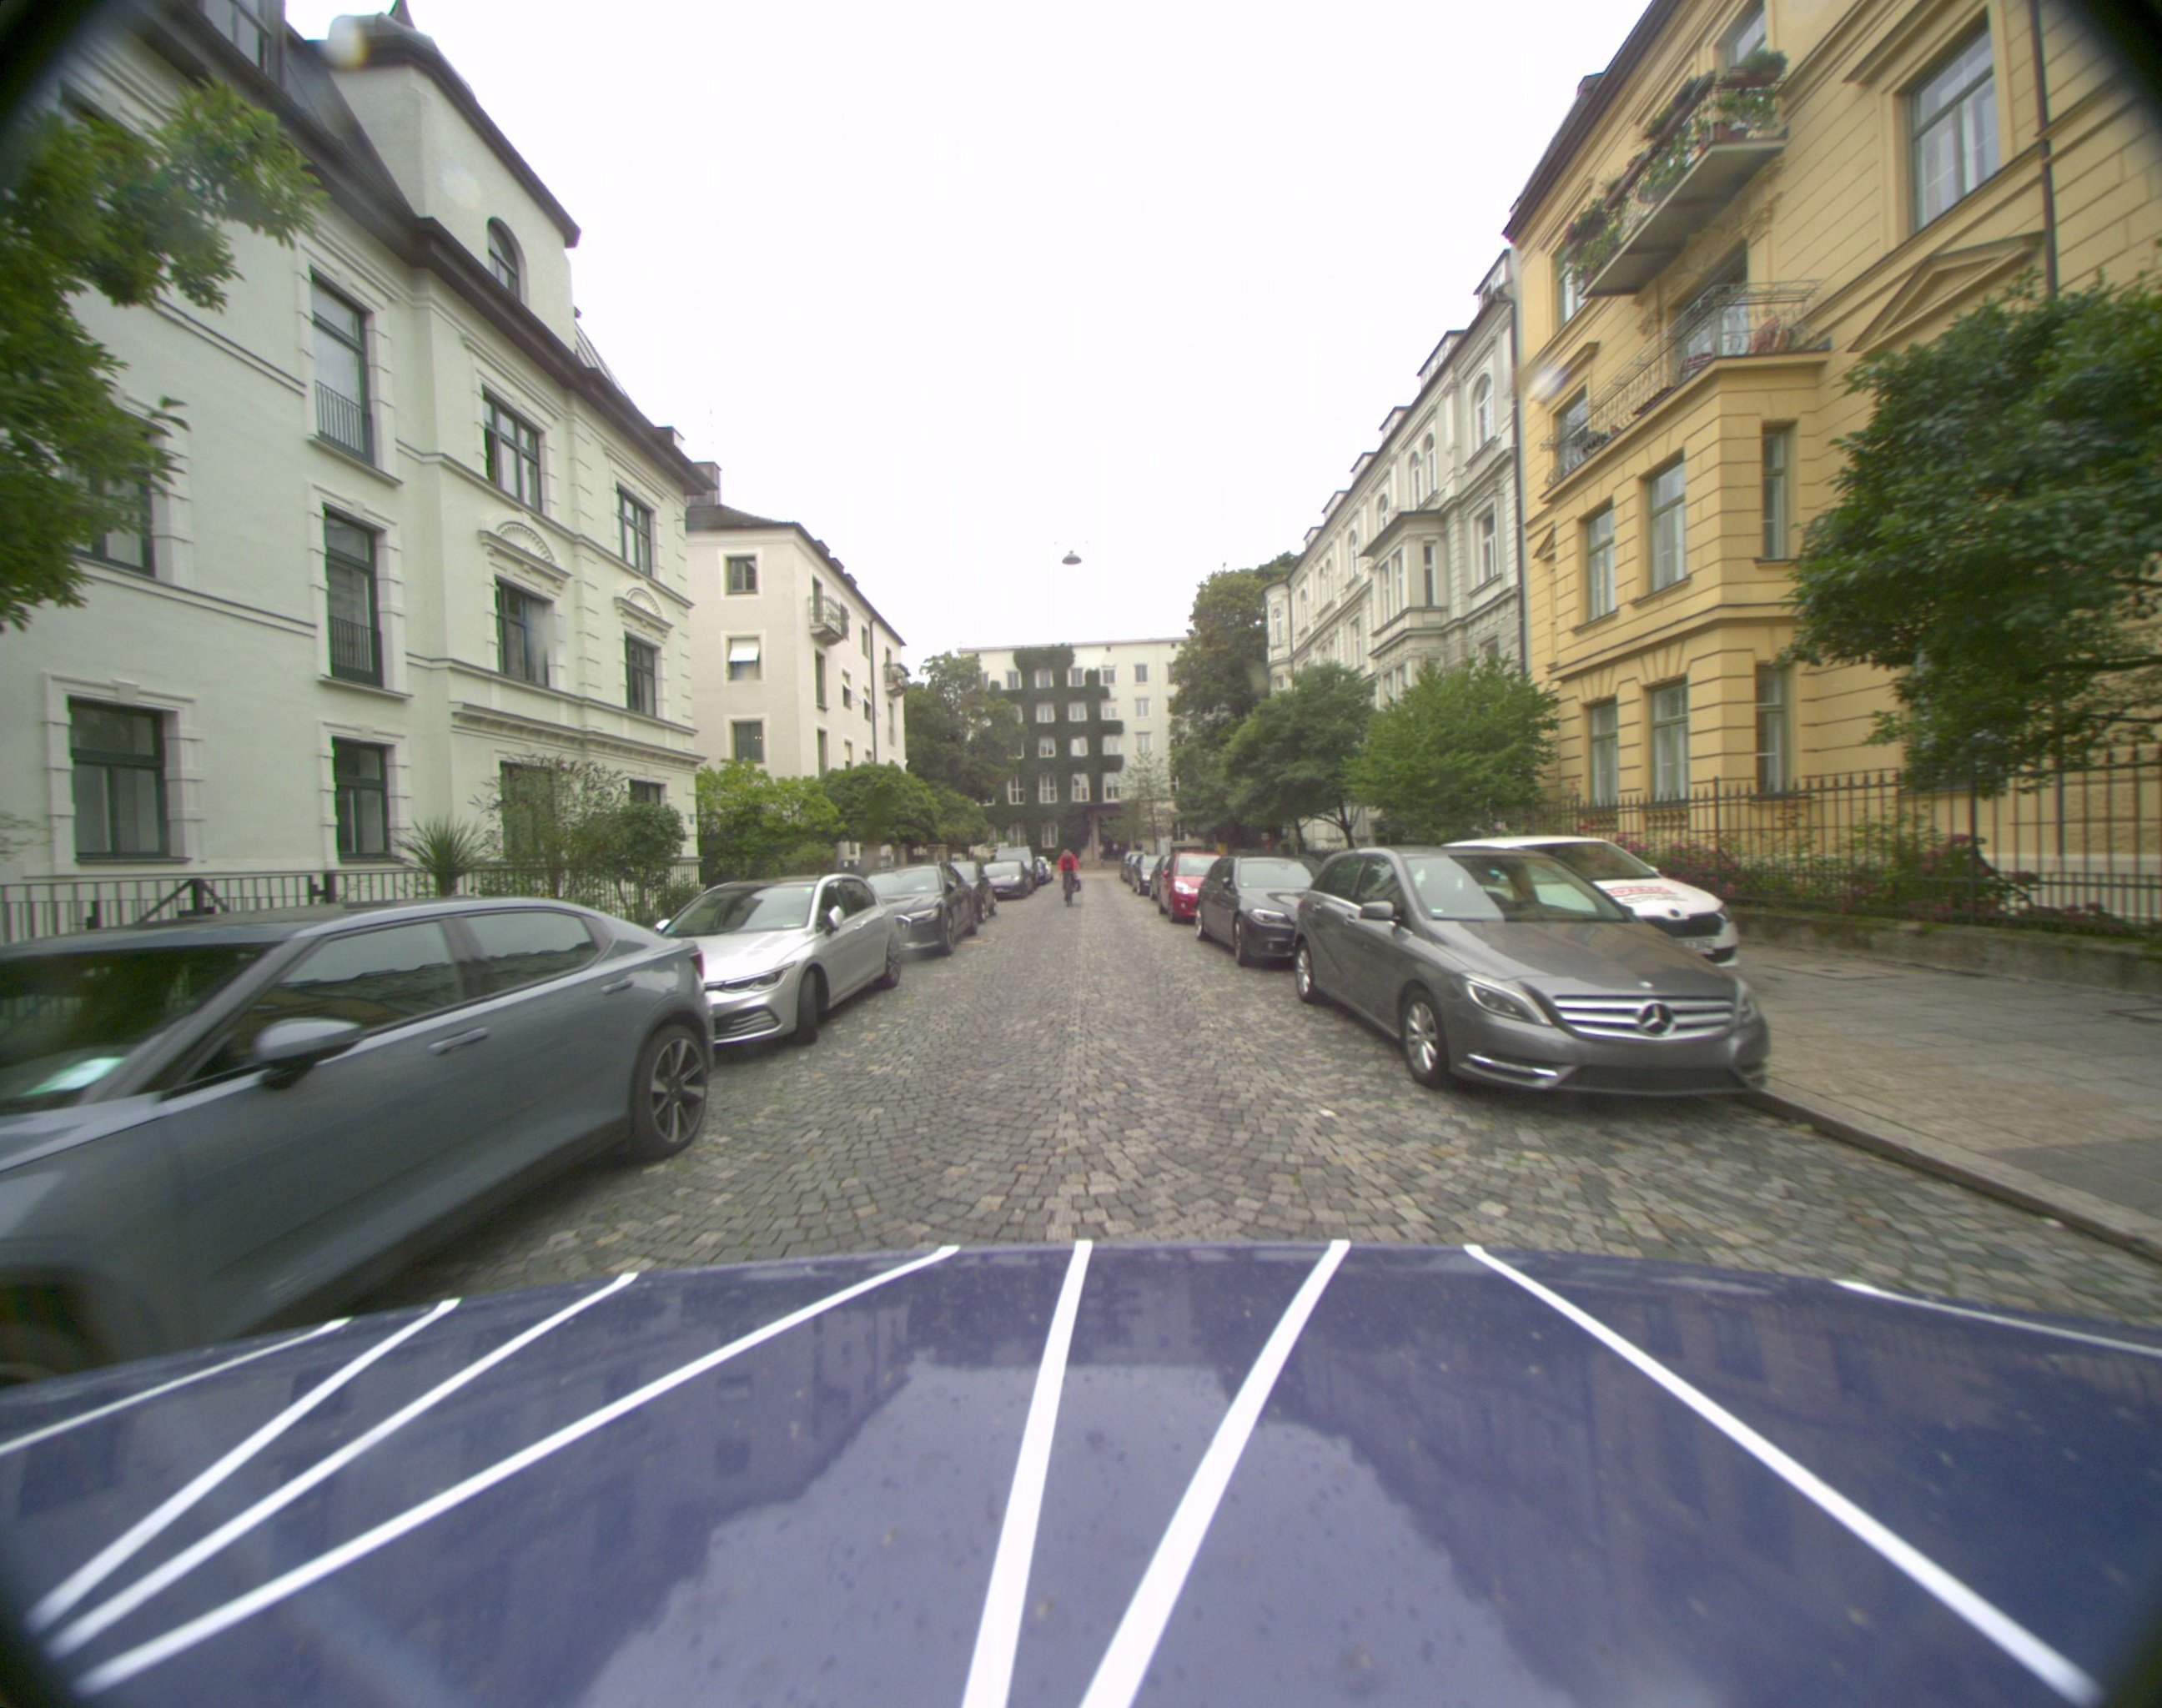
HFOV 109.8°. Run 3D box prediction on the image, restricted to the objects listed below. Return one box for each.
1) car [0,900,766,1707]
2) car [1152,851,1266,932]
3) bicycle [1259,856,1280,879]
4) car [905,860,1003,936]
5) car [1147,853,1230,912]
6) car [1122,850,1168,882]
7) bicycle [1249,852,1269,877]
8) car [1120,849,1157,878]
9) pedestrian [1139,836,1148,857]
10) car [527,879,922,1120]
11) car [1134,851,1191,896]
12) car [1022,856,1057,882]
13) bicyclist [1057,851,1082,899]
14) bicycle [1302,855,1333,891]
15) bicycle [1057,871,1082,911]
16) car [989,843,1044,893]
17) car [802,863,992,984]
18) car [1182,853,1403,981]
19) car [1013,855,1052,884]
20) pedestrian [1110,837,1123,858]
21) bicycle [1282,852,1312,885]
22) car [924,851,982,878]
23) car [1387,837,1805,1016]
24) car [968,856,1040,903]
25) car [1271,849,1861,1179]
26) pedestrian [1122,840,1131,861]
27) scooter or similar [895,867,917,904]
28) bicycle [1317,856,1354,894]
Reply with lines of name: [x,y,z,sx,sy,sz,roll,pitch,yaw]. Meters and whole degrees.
car: [-3.121,1.139,2.580,1.887,1.480,4.813,-4,1,1]
car: [2.775,0.750,17.384,1.846,1.577,4.191,-1,1,-1]
bicycle: [8.085,0.571,32.676,0.439,0.868,1.790,-5,1,1]
car: [-3.009,1.003,18.769,1.671,1.499,3.685,-5,1,0]
car: [3.109,0.769,22.925,1.822,1.500,4.641,1,1,0]
car: [3.110,0.548,37.668,1.744,1.490,4.280,-1,1,-2]
bicycle: [8.076,0.460,34.459,0.464,1.045,1.695,-5,1,1]
car: [3.192,0.499,43.095,1.744,1.572,4.281,-1,1,0]
pedestrian: [5.807,-0.673,71.039,0.665,1.905,0.863,-4,1,9]
car: [-3.098,1.153,7.832,1.760,1.451,4.480,-5,1,1]
car: [2.924,0.652,28.068,1.814,1.490,4.510,-1,1,3]
car: [-2.371,0.856,44.629,1.744,1.367,4.281,-1,1,1]
bicyclist: [-0.331,0.607,22.115,0.648,1.350,0.656,-3,1,0]
bicycle: [7.844,0.619,25.275,0.434,1.092,1.790,-5,1,1]
bicycle: [-0.313,1.051,22.103,0.636,1.021,1.955,-3,1,0]
car: [-2.824,0.560,34.394,1.999,1.958,4.965,-5,1,-1]
car: [-2.952,1.030,13.492,1.909,1.494,5.105,-5,1,1]
car: [2.866,0.746,11.597,1.875,1.461,5.132,-1,1,-1]
car: [-2.467,0.762,39.553,1.744,1.367,4.181,-1,1,1]
pedestrian: [3.309,-0.575,71.057,0.703,1.905,0.861,-5,2,-30]
bicycle: [7.965,0.528,28.078,0.510,1.118,1.790,-5,1,1]
car: [-9.738,0.787,57.976,3.998,1.671,1.899,-4,1,-2]
car: [5.325,0.606,8.750,1.846,1.457,4.389,-3,1,1]
car: [-2.807,0.914,28.797,1.942,1.457,4.532,-4,1,3]
car: [2.932,0.773,5.846,1.744,1.577,4.191,-1,1,-2]
pedestrian: [4.273,-0.361,71.229,0.701,1.905,0.863,-4,1,3]
scooter or similar: [-6.198,1.109,26.993,0.444,1.209,1.470,3,1,-2]
bicycle: [7.743,0.618,23.165,0.474,1.045,1.759,-5,1,1]
